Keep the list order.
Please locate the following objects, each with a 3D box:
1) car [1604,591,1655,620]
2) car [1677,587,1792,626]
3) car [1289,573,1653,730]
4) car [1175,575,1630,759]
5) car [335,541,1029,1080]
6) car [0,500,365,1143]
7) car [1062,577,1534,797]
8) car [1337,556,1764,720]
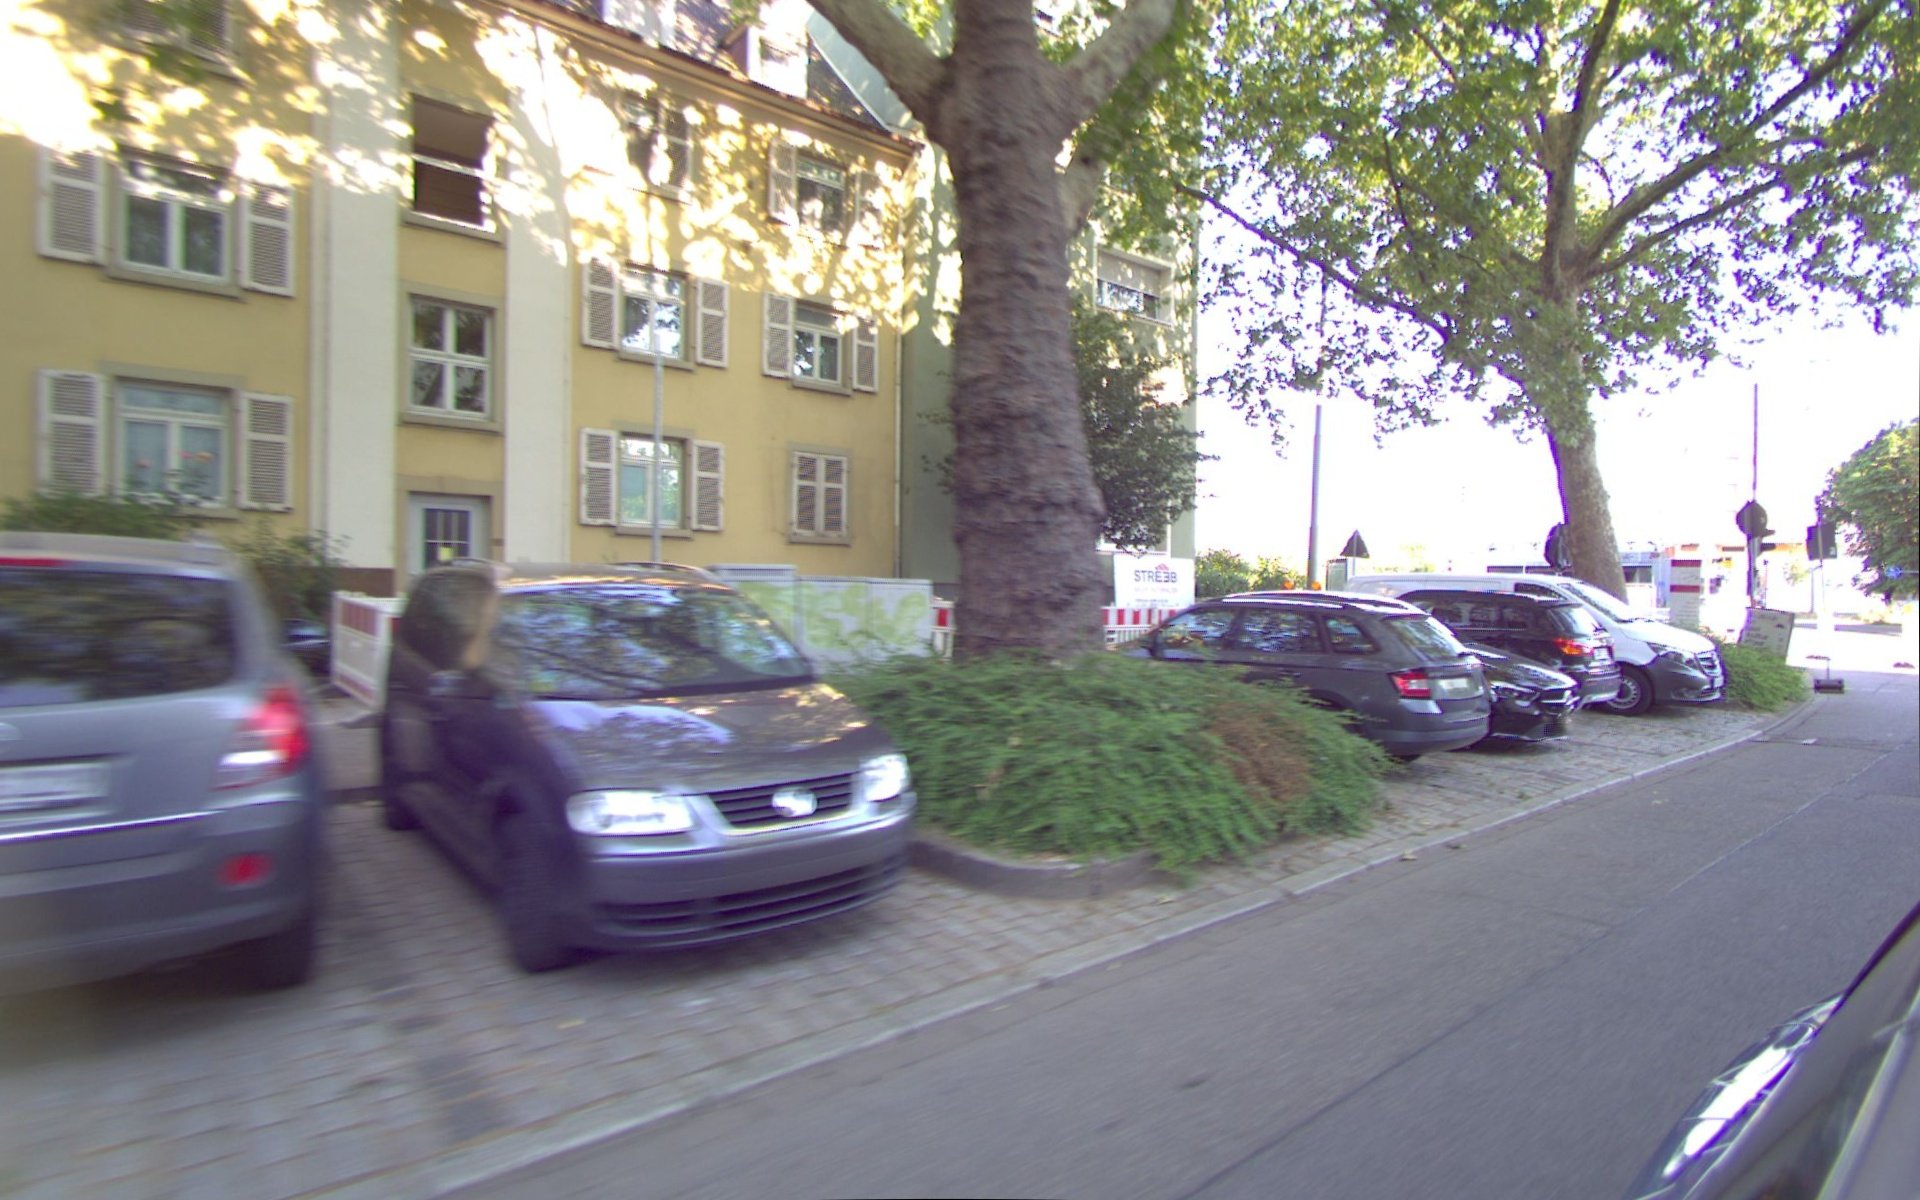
[{"bbox_3d":[35.238,0.240,53.329,1.624,1.415,3.312,2,1,23],"label":"car"},{"bbox_3d":[30.264,0.264,39.584,3.497,1.455,1.644,1,-2,-11],"label":"car"},{"bbox_3d":[6.613,0.546,13.423,1.764,1.625,3.883,1,3,-41],"label":"car"},{"bbox_3d":[4.818,0.585,11.609,1.785,1.542,4.411,1,2,-40],"label":"car"},{"bbox_3d":[-1.876,0.572,5.504,1.875,1.677,4.434,0,3,-41],"label":"car"},{"bbox_3d":[-3.908,0.479,4.442,1.806,1.752,4.323,0,3,-36],"label":"car"},{"bbox_3d":[3.017,0.622,9.624,1.712,1.515,3.887,0,3,-43],"label":"car"},{"bbox_3d":[8.515,0.374,15.088,1.881,1.878,5.125,-1,4,-40],"label":"car"}]
